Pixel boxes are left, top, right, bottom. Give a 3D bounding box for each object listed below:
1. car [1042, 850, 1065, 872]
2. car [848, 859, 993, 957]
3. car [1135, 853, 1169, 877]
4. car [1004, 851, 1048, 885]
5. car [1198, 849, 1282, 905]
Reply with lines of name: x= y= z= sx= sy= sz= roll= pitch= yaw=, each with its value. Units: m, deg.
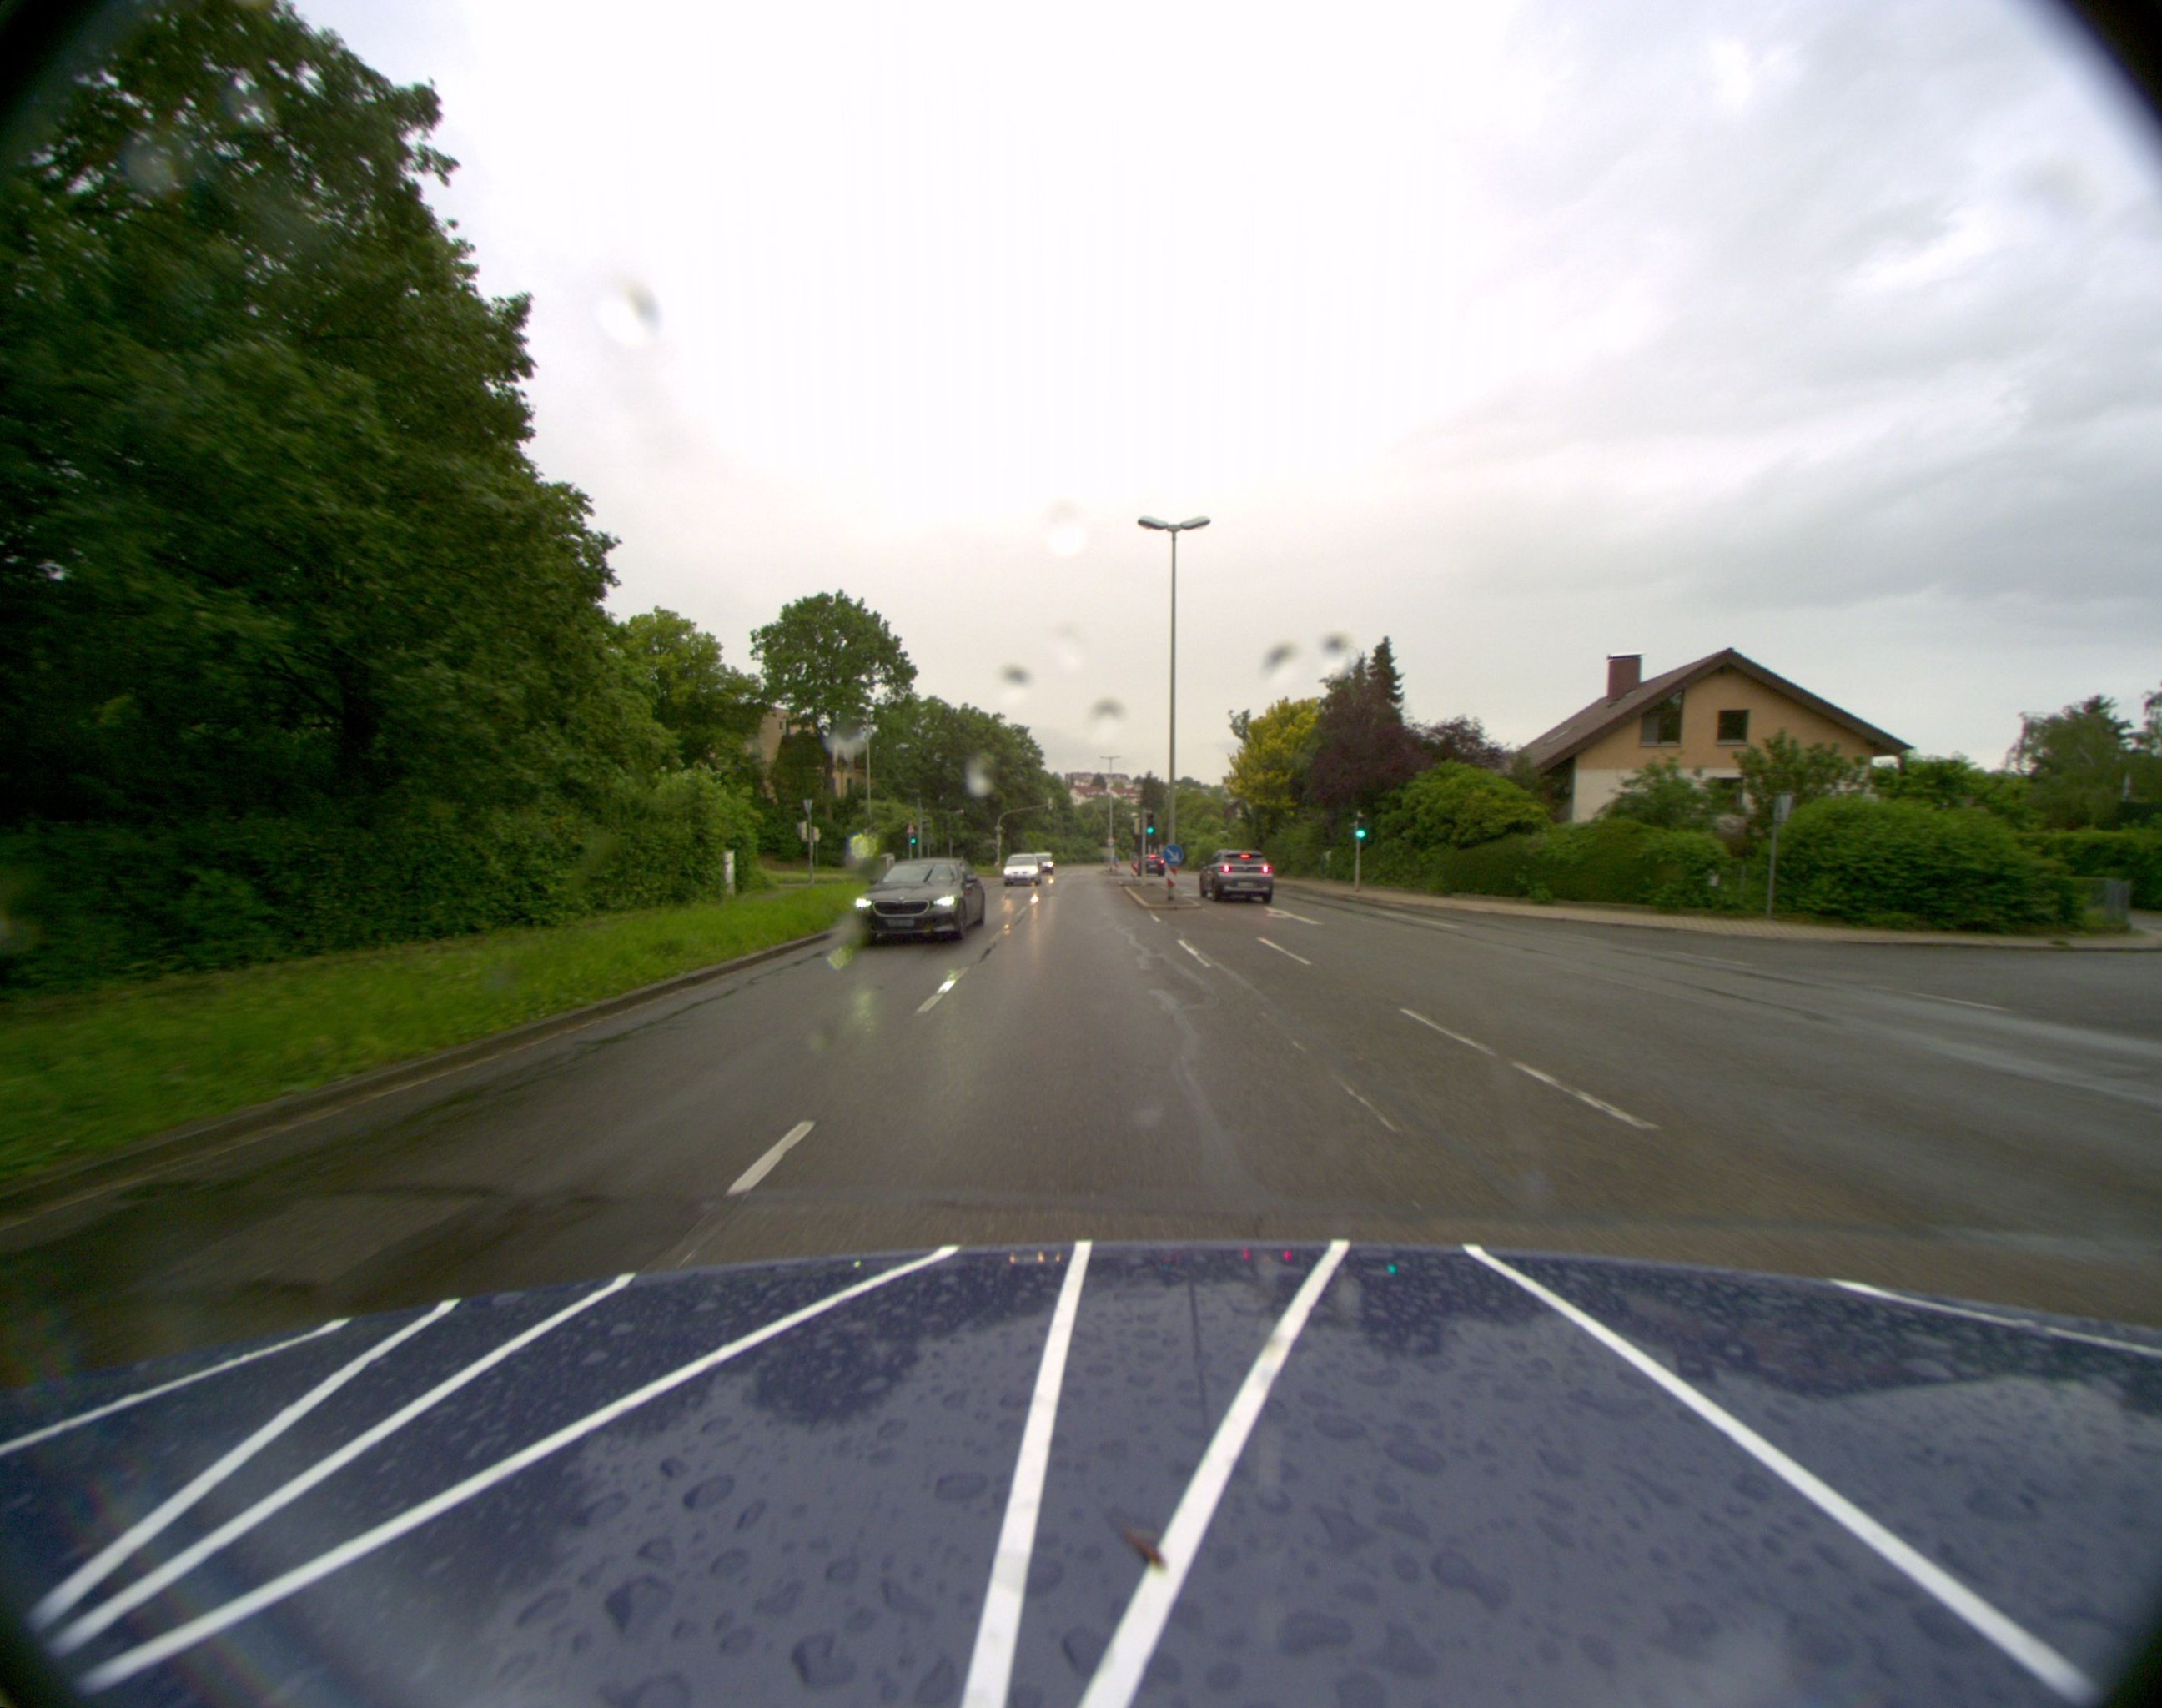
car: x=-2.290 y=0.573 z=63.498 sx=1.815 sy=1.797 sz=4.118 roll=1 pitch=0 yaw=-2
car: x=-2.951 y=0.920 z=14.892 sx=1.867 sy=1.547 sz=4.119 roll=1 pitch=1 yaw=1
car: x=5.030 y=0.775 z=54.482 sx=2.030 sy=1.554 sz=3.876 roll=1 pitch=1 yaw=0
car: x=-2.698 y=0.649 z=37.998 sx=1.814 sy=1.546 sz=4.119 roll=1 pitch=0 yaw=1
car: x=4.875 y=0.645 z=23.814 sx=1.800 sy=1.593 sz=3.731 roll=1 pitch=1 yaw=-1
